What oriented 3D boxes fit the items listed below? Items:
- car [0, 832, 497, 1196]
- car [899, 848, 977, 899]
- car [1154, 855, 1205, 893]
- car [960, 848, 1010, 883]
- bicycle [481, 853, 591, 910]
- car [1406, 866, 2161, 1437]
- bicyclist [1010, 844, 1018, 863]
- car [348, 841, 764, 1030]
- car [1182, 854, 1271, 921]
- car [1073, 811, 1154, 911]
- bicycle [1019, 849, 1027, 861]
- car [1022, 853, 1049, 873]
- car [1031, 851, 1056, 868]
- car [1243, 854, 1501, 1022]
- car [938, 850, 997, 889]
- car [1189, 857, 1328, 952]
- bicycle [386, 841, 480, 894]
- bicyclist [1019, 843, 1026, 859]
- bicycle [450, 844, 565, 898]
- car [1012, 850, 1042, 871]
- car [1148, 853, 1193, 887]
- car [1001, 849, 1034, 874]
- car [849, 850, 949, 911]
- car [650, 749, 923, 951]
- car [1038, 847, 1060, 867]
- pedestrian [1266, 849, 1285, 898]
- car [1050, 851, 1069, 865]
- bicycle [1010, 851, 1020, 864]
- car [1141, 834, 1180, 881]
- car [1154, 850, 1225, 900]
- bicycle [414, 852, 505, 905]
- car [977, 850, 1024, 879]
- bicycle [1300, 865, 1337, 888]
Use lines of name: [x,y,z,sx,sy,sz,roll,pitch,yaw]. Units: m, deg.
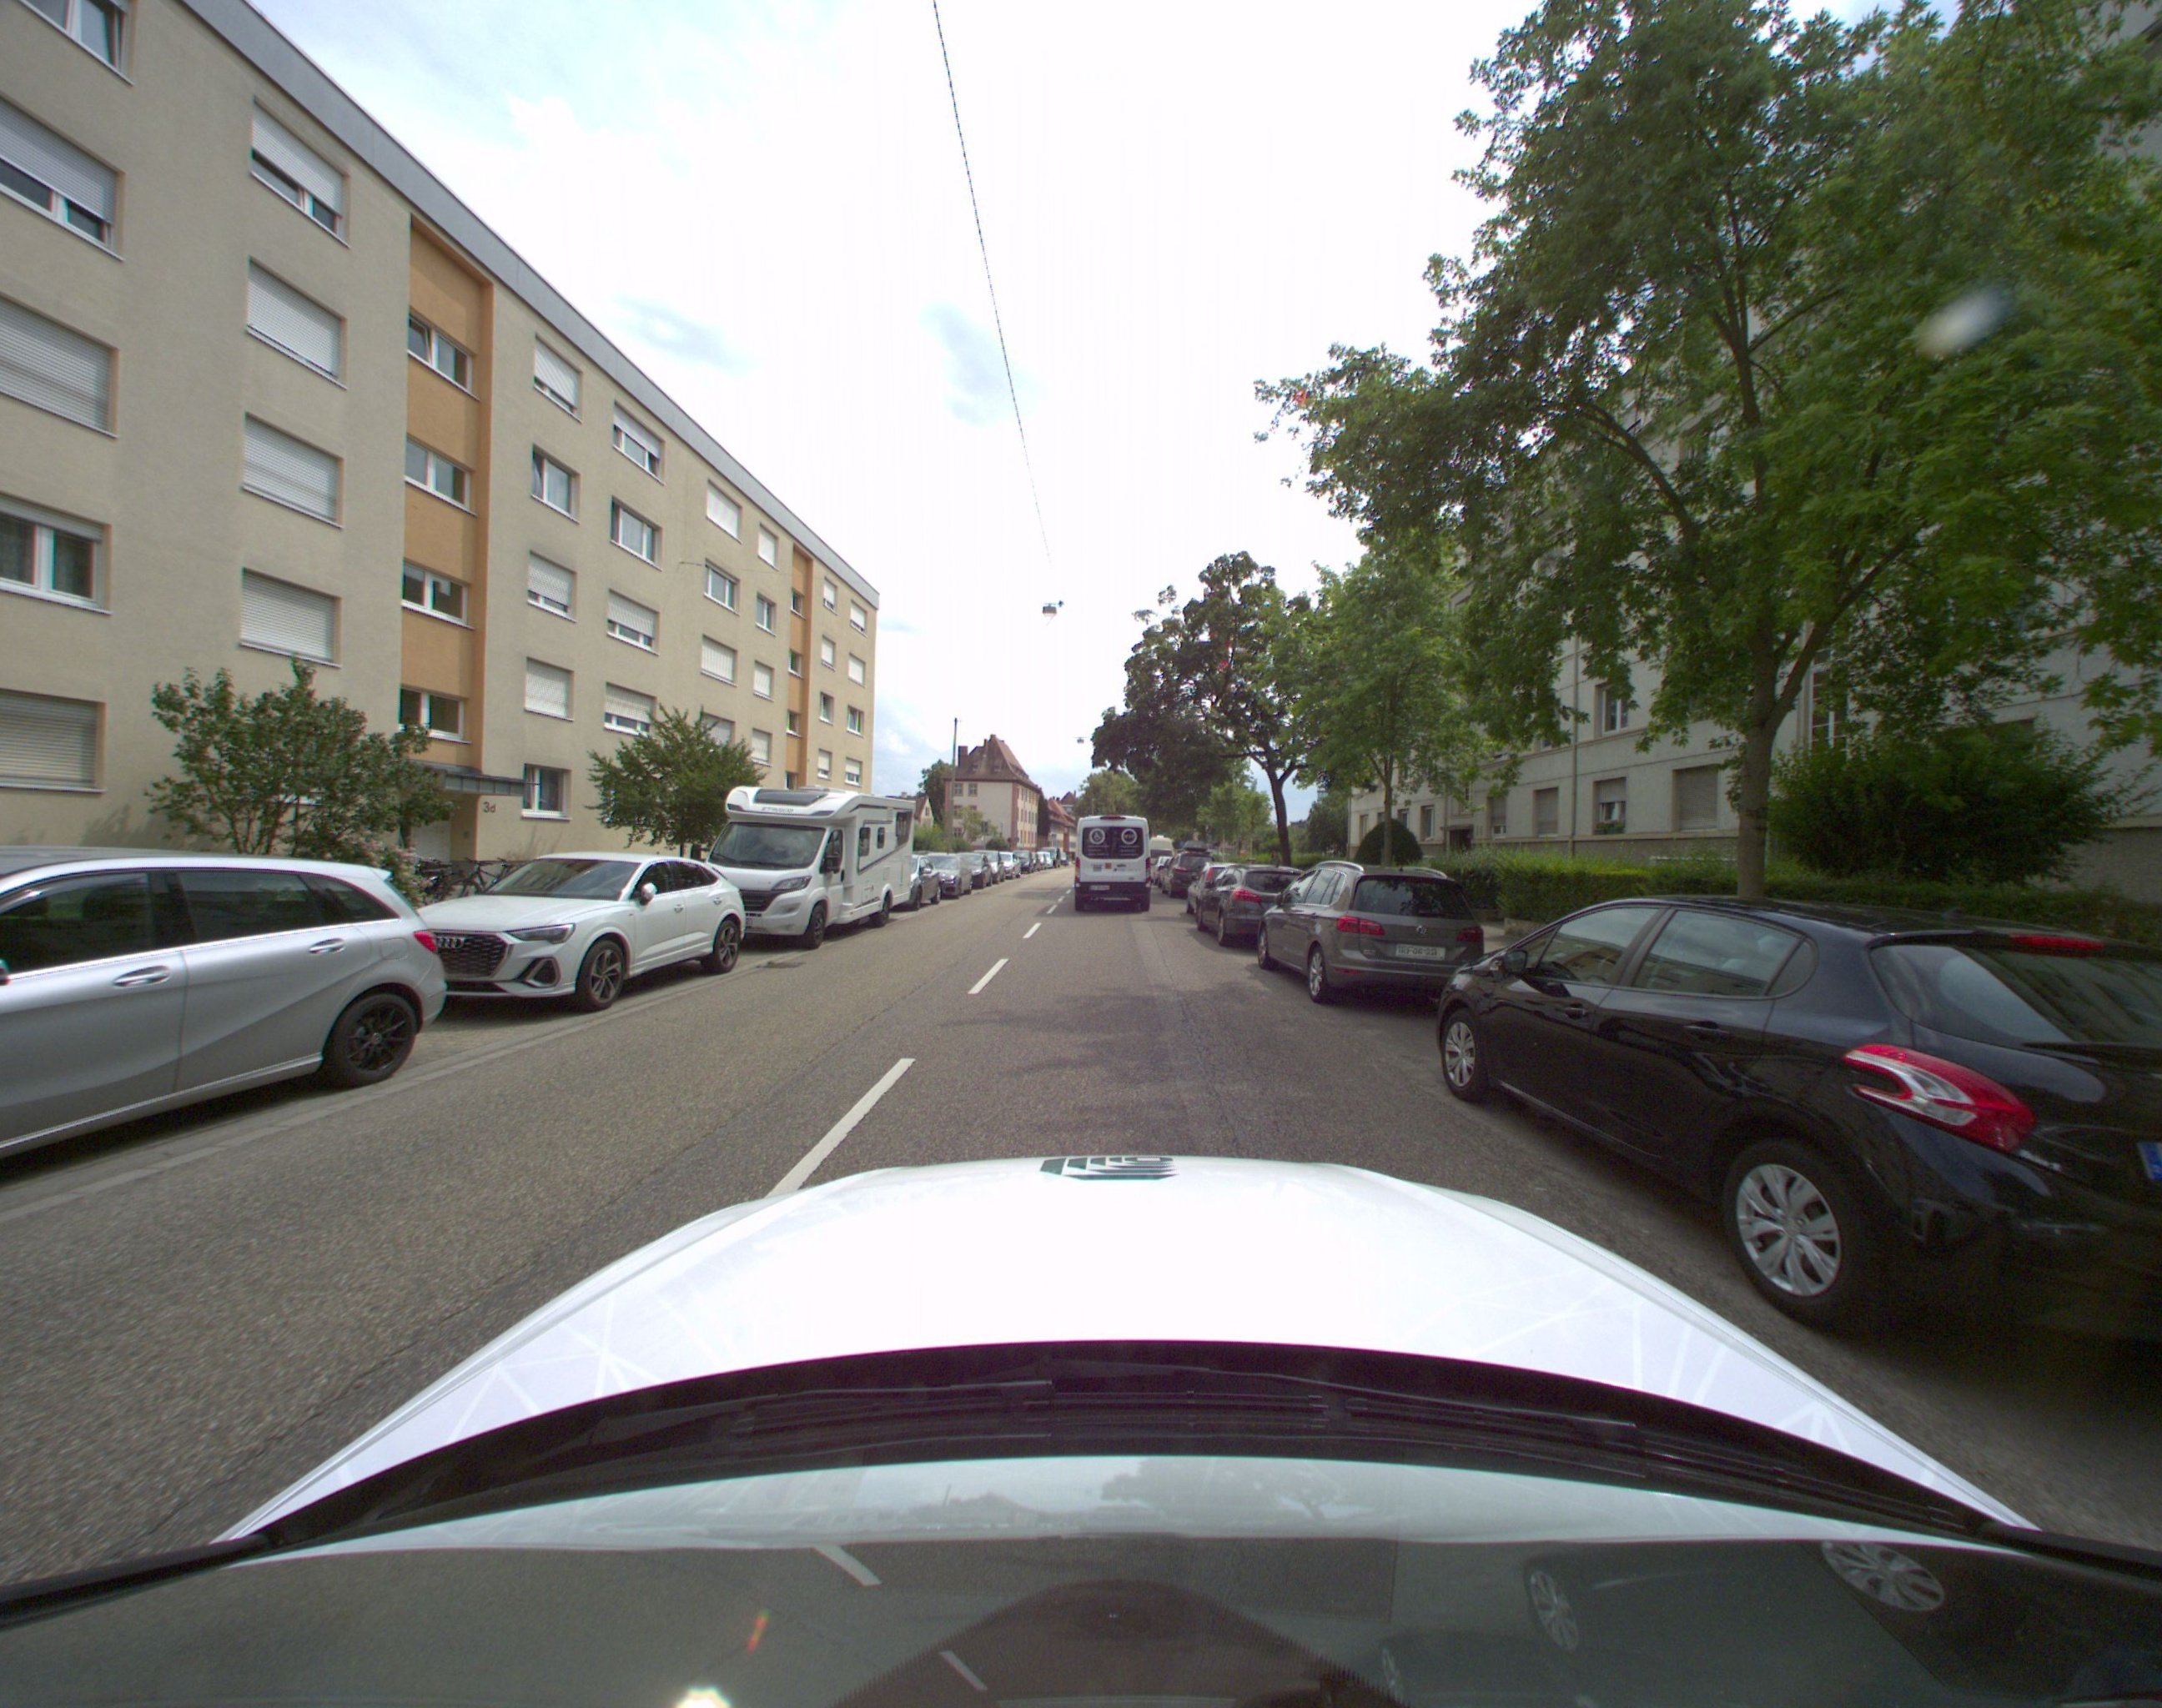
car: [-5.630,0.696,4.194,1.748,1.579,4.571,2,0,2]
car: [-4.914,0.614,28.666,1.880,1.579,5.216,2,0,-1]
car: [4.304,0.833,36.206,1.707,1.464,4.000,3,0,0]
car: [-4.668,0.542,40.165,1.879,1.579,4.153,2,0,0]
bicycle: [-10.702,0.501,16.116,0.451,0.980,2.447,1,1,2]
car: [3.275,0.878,4.236,1.653,1.469,3.891,1,1,1]
bicyclist: [-5.839,-0.069,70.882,0.534,1.653,1.049,0,0,6]
car: [-5.467,0.698,9.396,1.682,1.579,4.595,2,0,1]
car: [3.594,0.763,20.715,1.653,1.456,4.038,2,0,2]
car: [0.837,0.190,22.989,2.064,2.540,4.634,0,0,0]
bicycle: [-5.691,0.076,79.700,0.539,1.175,1.351,0,0,5]
car: [-3.749,0.723,67.300,1.778,1.462,3.864,2,0,3]
car: [-3.388,0.480,74.095,1.778,1.482,3.864,2,0,3]
car: [3.363,0.850,10.351,1.654,1.583,4.285,3,0,0]
car: [-4.807,0.630,35.089,1.735,1.496,4.787,2,0,1]
car: [3.208,0.837,15.564,1.612,1.469,4.390,2,0,-1]
bicycle: [-12.821,0.236,16.174,0.394,0.978,1.687,1,1,5]
bicyclist: [-5.719,-0.293,79.374,0.533,1.585,0.692,0,0,5]
bicycle: [-11.257,0.294,16.099,0.451,0.980,2.447,1,1,2]
car: [-4.100,0.492,62.056,1.778,1.462,3.864,2,0,3]
car: [4.433,0.754,40.890,1.675,1.469,4.555,4,0,0]
car: [-4.327,0.487,56.044,1.778,1.543,3.864,2,0,3]
car: [-5.040,0.680,23.186,1.682,1.496,4.595,2,0,1]
car: [-5.266,-0.079,16.276,2.501,3.024,7.398,2,0,1]
car: [-3.071,0.306,79.149,1.778,1.827,3.977,2,0,3]
pedestrian: [7.388,0.726,31.014,0.523,1.828,0.521,0,0,-14]
car: [-2.370,0.407,89.614,1.778,1.482,3.864,2,0,3]
bicycle: [-5.784,0.313,71.398,0.538,1.175,2.095,0,0,6]
car: [4.764,0.190,49.485,1.889,2.587,4.831,3,0,2]
car: [4.023,0.726,31.113,1.921,1.661,5.324,3,0,0]
bicycle: [-12.259,0.456,16.132,0.394,0.978,1.680,1,1,5]
car: [-4.477,0.573,46.114,1.877,1.488,4.638,2,0,4]
bicycle: [9.833,0.911,33.688,1.384,0.917,0.512,1,1,-11]
